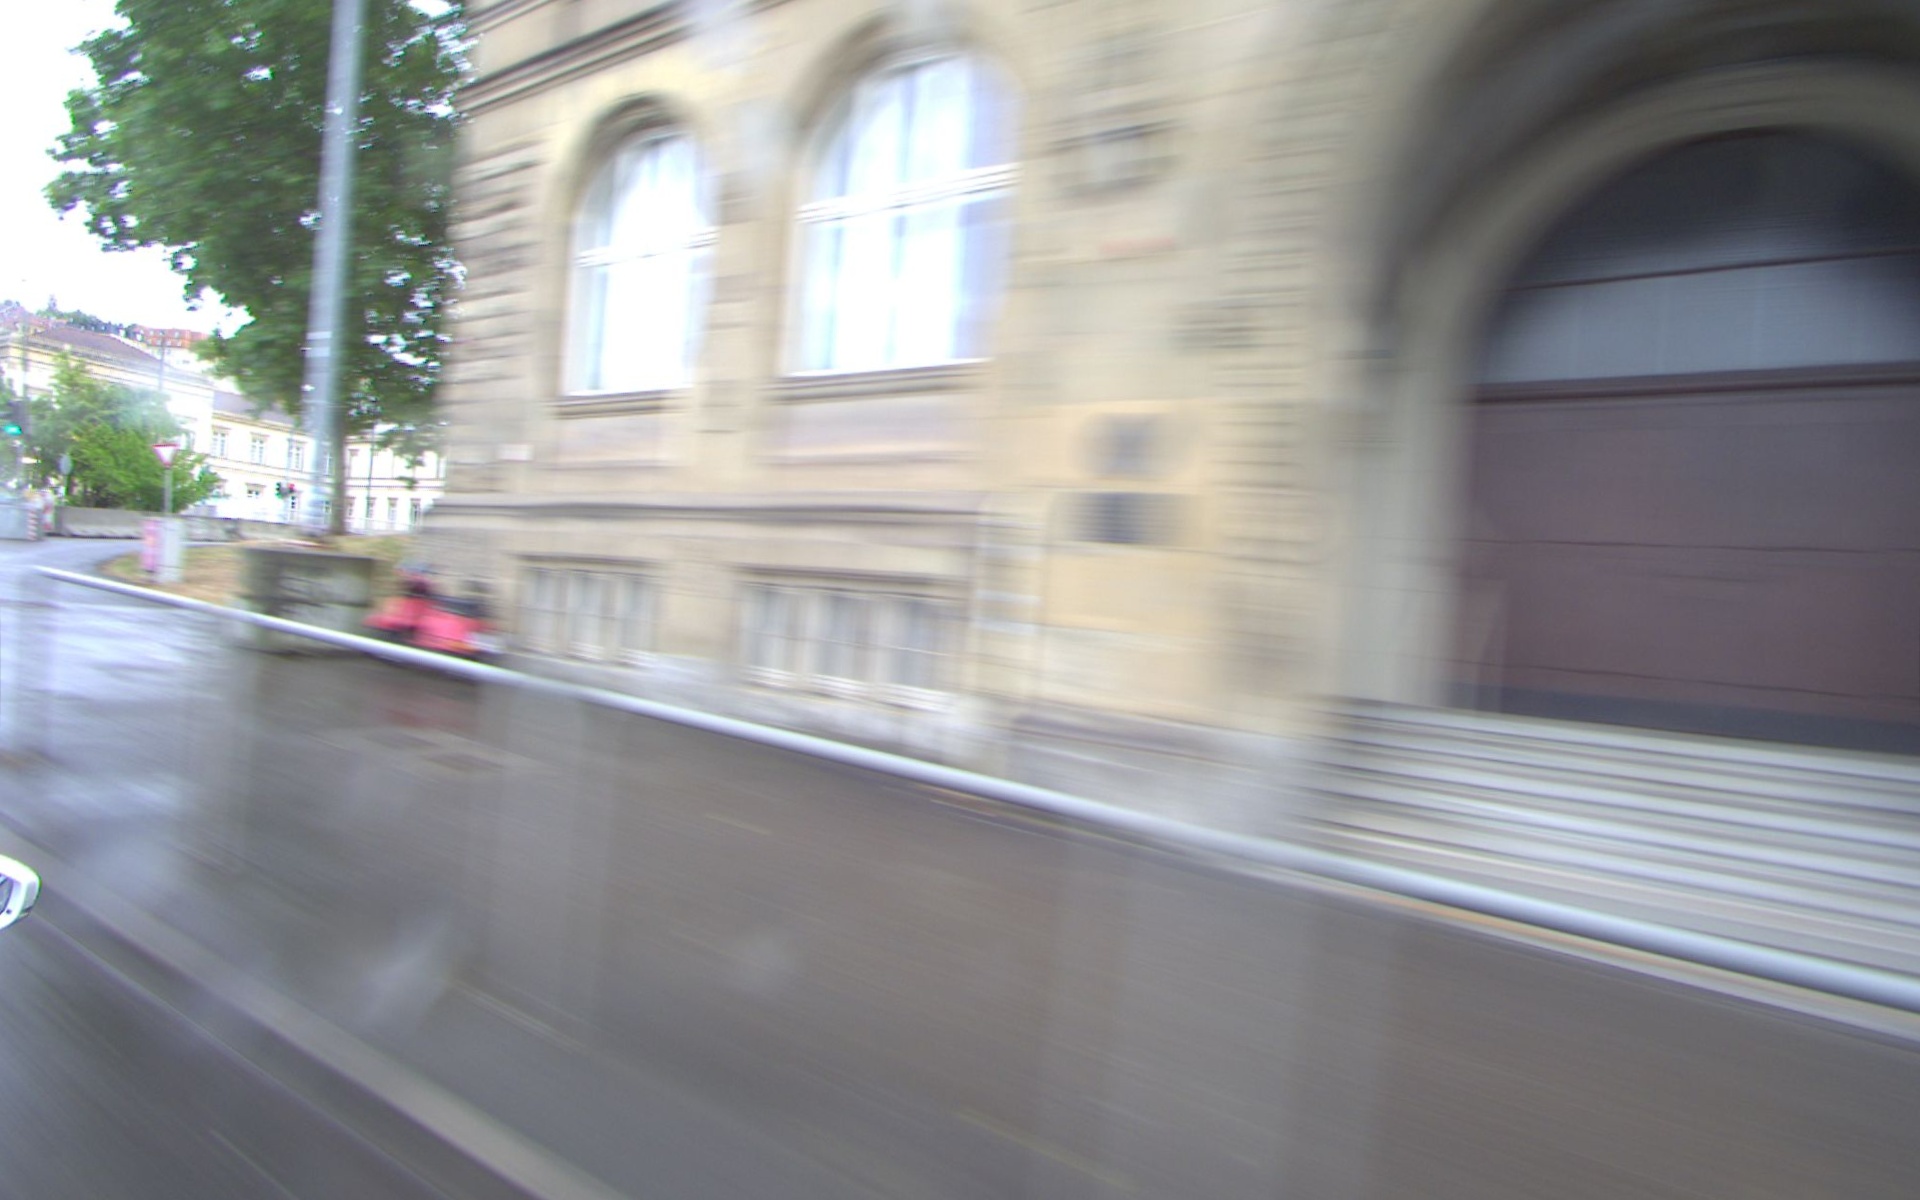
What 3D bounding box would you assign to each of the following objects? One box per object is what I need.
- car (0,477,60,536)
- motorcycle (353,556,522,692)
[{"bbox_3d":[-26.332,-2.544,26.863,1.647,1.447,3.744,6,4,-11],"label":"car"},{"bbox_3d":[-5.294,0.222,10.152,1.867,1.153,0.547,7,1,32],"label":"motorcycle"}]
